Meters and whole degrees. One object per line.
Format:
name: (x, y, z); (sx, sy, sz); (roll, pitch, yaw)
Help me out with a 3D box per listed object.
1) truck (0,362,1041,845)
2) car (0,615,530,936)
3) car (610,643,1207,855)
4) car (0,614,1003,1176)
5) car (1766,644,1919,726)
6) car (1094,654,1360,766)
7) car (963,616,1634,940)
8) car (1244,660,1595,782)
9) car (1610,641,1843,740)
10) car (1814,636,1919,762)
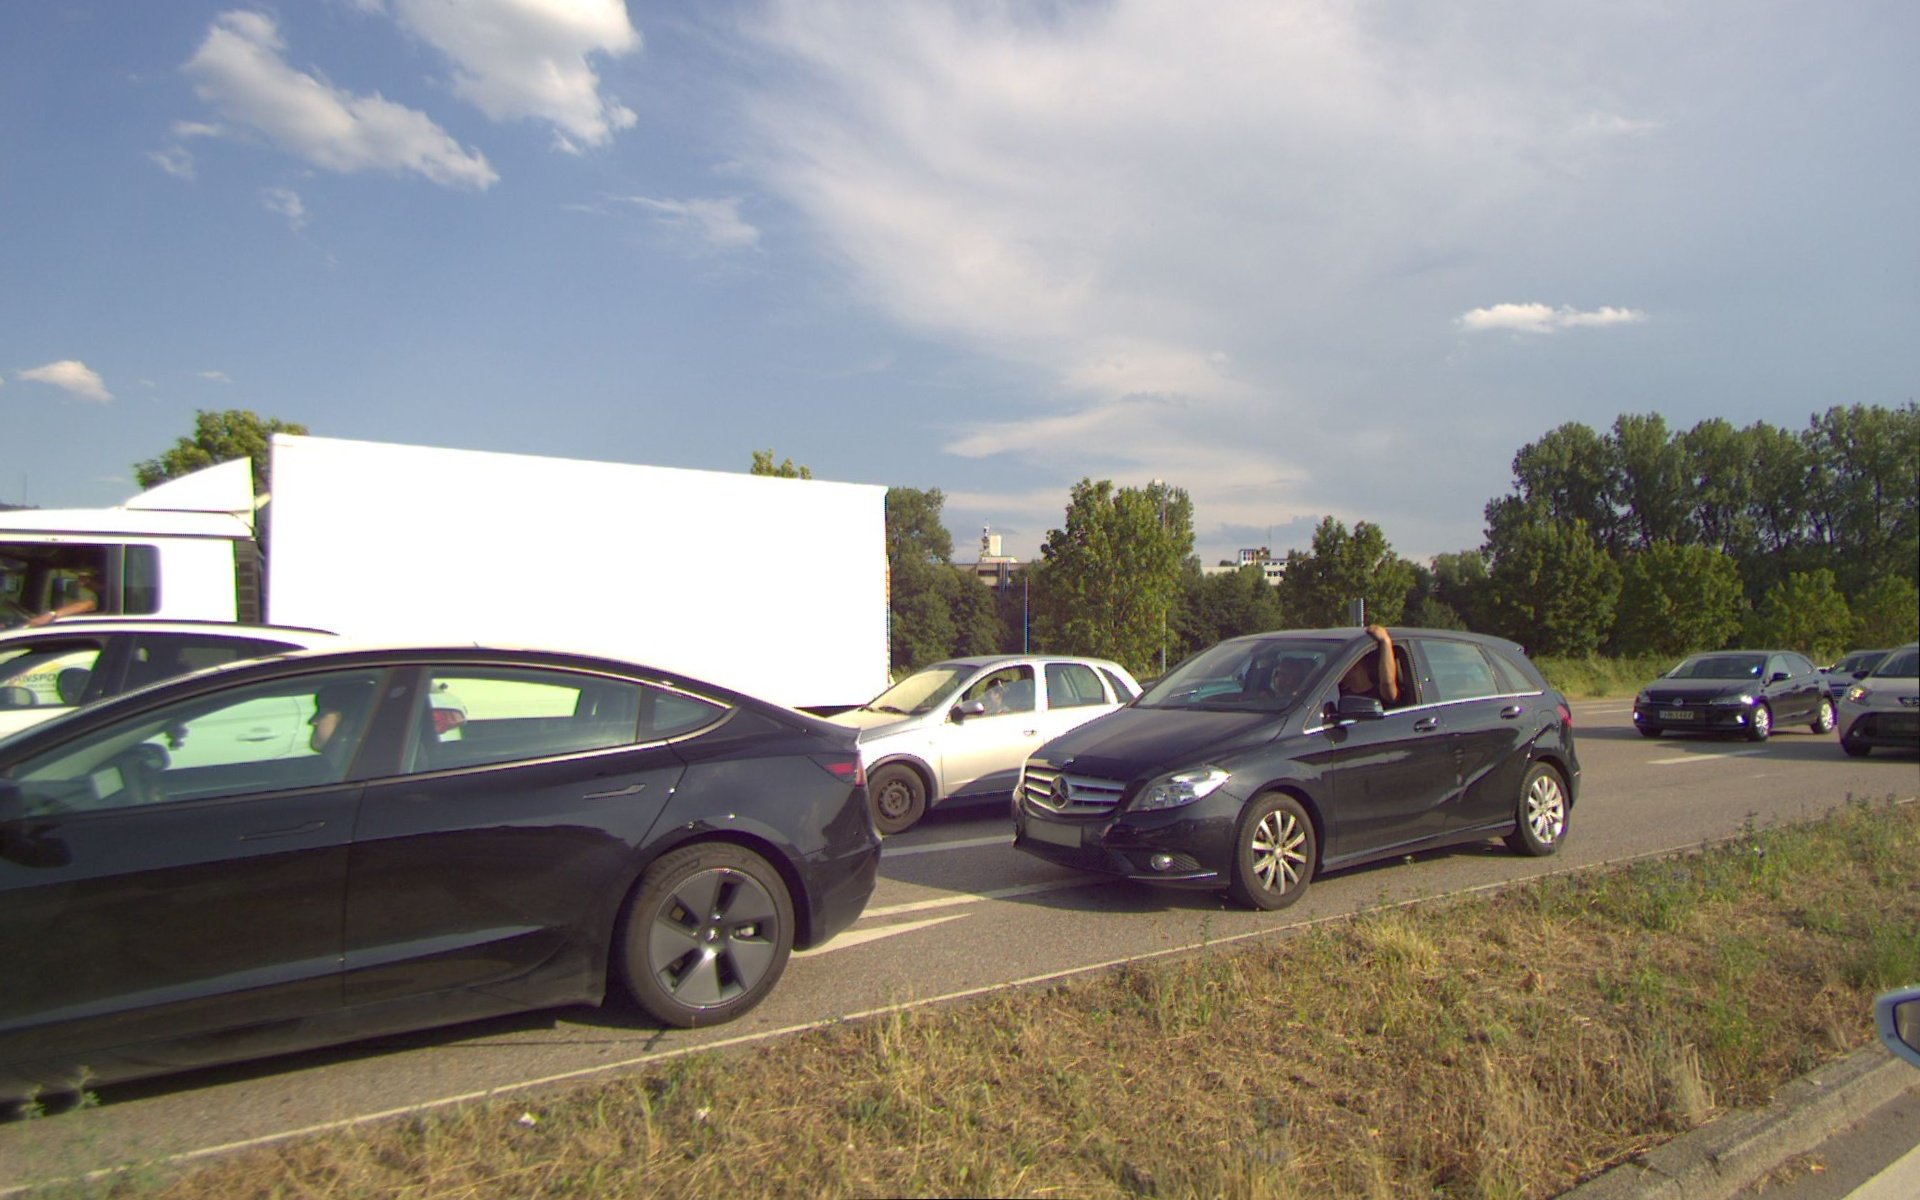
truck: (-4.213, 0.301, 11.238); (10.372, 3.737, 2.921); (3, -5, -29)
car: (-5.412, 0.988, 6.316); (4.751, 1.700, 1.984); (3, -4, -31)
car: (-0.279, 1.151, 8.798); (5.023, 1.423, 1.694); (3, -4, -31)
car: (-2.348, 0.847, 3.848); (4.874, 1.485, 1.781); (3, -3, -32)
car: (18.338, 1.649, 20.201); (4.671, 1.483, 1.708); (1, -4, -30)
car: (4.194, 1.661, 15.681); (3.953, 1.548, 1.755); (3, -5, -30)
car: (2.414, 0.929, 6.827); (4.517, 1.558, 1.772); (0, -3, -30)
car: (6.003, 1.439, 12.940); (4.763, 1.300, 1.694); (2, -4, -31)
car: (13.071, 1.498, 17.082); (4.197, 1.492, 1.694); (2, -5, -31)
car: (13.312, 1.294, 13.328); (3.953, 1.539, 1.773); (3, -5, -30)
